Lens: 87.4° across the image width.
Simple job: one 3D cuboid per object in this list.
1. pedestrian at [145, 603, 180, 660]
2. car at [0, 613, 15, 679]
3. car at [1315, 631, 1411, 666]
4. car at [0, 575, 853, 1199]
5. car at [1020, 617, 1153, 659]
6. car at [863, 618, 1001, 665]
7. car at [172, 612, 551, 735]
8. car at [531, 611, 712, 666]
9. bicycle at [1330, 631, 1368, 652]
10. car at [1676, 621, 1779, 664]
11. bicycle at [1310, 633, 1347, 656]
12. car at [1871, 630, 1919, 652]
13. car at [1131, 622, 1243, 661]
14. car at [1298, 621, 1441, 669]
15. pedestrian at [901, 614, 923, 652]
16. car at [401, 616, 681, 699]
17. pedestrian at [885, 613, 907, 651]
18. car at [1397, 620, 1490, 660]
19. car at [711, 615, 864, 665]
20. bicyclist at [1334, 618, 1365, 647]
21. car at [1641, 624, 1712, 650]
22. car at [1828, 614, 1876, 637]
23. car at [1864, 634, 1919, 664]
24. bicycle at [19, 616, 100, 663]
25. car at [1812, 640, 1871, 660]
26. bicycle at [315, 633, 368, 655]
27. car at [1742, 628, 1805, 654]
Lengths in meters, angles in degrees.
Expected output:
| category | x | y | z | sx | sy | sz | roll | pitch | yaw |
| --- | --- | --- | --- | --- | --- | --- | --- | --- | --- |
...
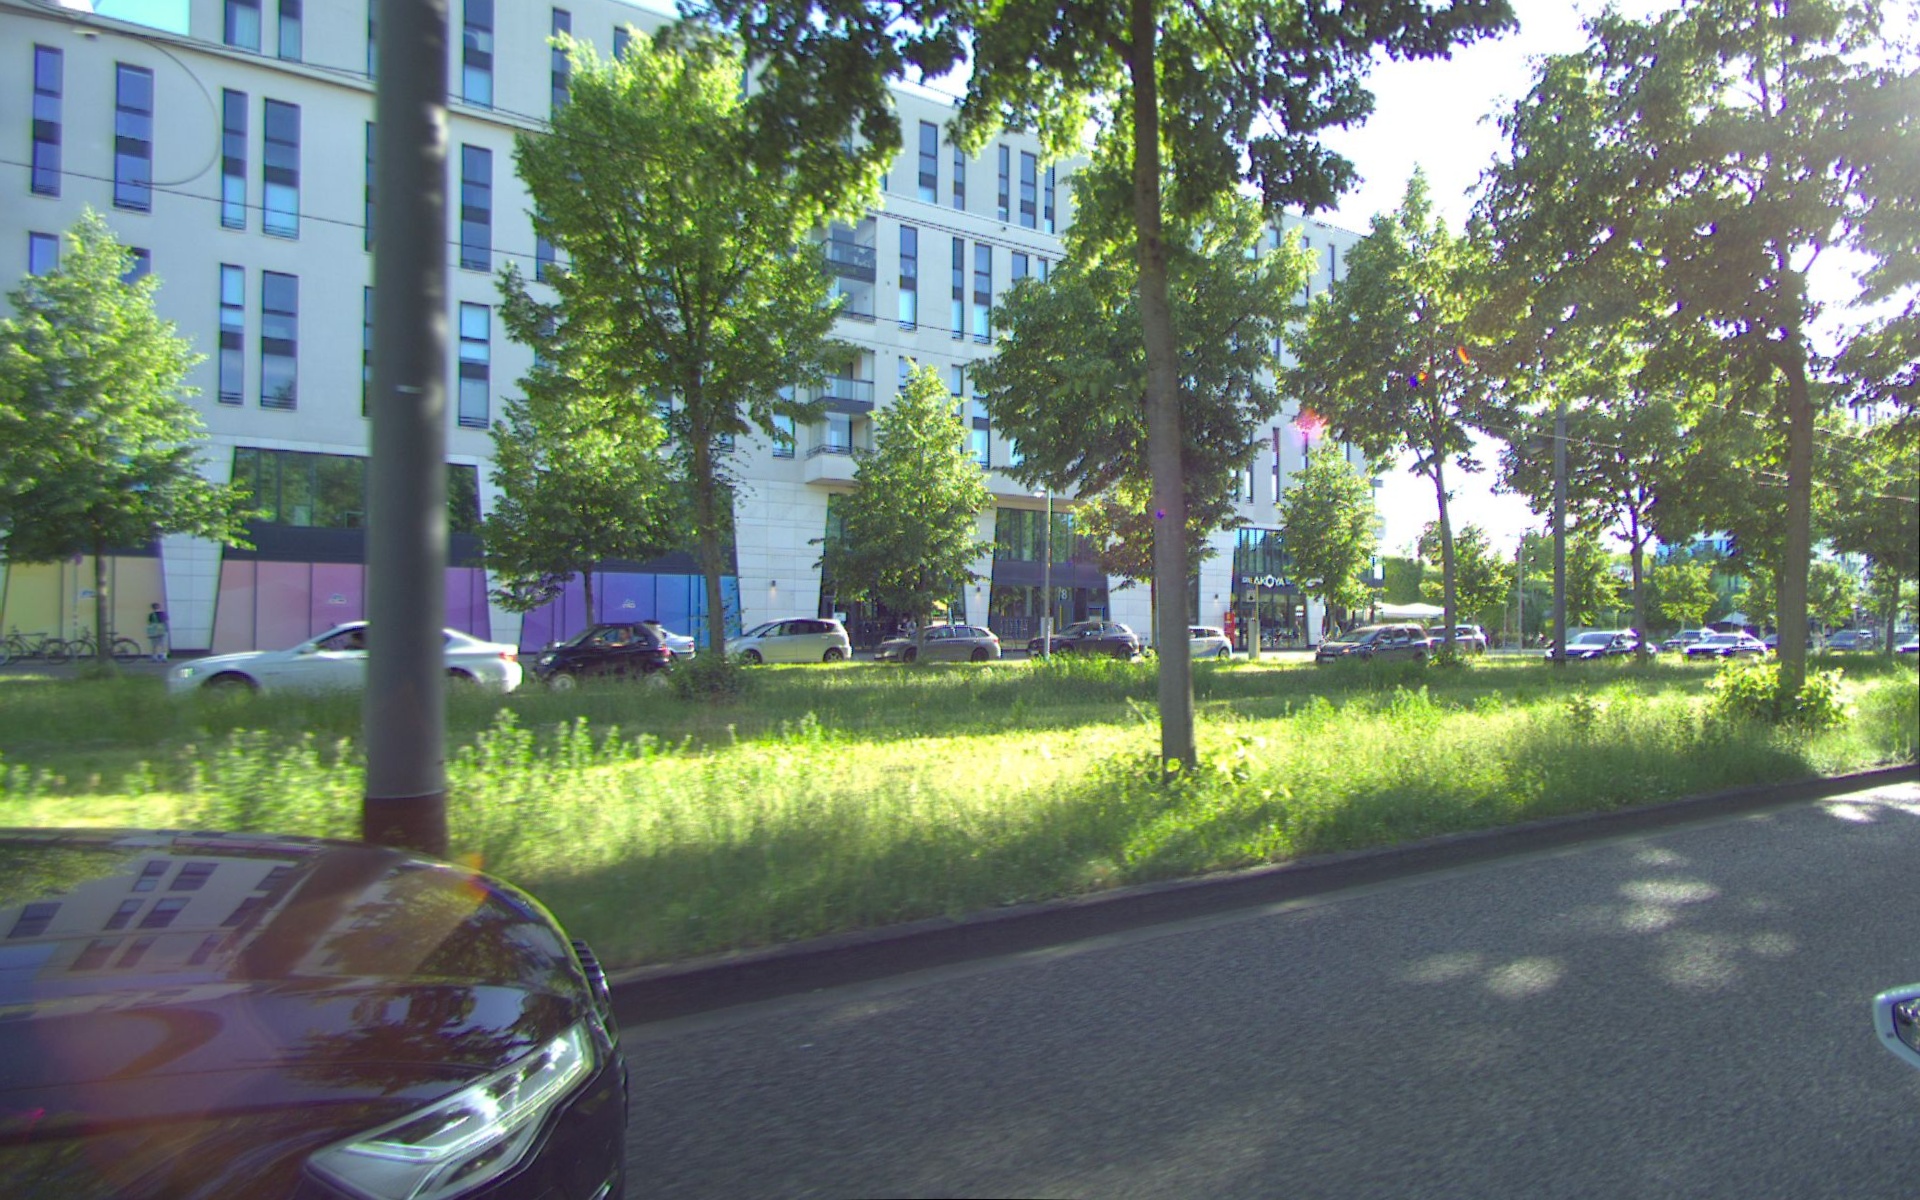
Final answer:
| category | x | y | z | sx | sy | sz | roll | pitch | yaw |
| --- | --- | --- | --- | --- | --- | --- | --- | --- | --- |
| pedestrian | -24.054 | 0.946 | 30.295 | 0.712 | 1.673 | 0.632 | 2 | 0 | -32 |
| car | -23.772 | 0.992 | 21.466 | 4.872 | 1.460 | 1.982 | 2 | 0 | -33 |
| car | 18.745 | 2.243 | 46.669 | 4.215 | 1.460 | 1.948 | 2 | 0 | -30 |
| car | -2.795 | 0.723 | 1.076 | 5.028 | 1.500 | 1.942 | 0 | 0 | -32 |
| car | 4.858 | 1.465 | 38.373 | 4.884 | 1.460 | 1.982 | 2 | 0 | -33 |
| car | -0.934 | 1.444 | 34.955 | 4.408 | 1.460 | 1.982 | 2 | 0 | -33 |
| car | -9.596 | 1.132 | 16.544 | 5.052 | 1.708 | 1.983 | 2 | 0 | -31 |
| car | -9.932 | 1.123 | 29.604 | 4.728 | 1.460 | 1.982 | 2 | 0 | -33 |
| bicycle | 19.431 | 2.076 | 50.125 | 2.163 | 1.014 | 0.494 | 2 | 0 | -31 |
| car | 35.519 | 1.937 | 46.465 | 5.189 | 1.865 | 1.984 | 1 | -1 | -30 |
| bicycle | 20.656 | 2.492 | 56.325 | 2.215 | 1.214 | 0.729 | 2 | 0 | -31 |
| car | 75.748 | 3.320 | 81.000 | 4.555 | 1.630 | 1.984 | 2 | 0 | -29 |
| car | 9.379 | 1.709 | 41.431 | 4.408 | 1.460 | 1.982 | 2 | 0 | -33 |
| car | 13.929 | 1.533 | 34.114 | 4.644 | 1.460 | 1.985 | 2 | 0 | -28 |
| pedestrian | -2.154 | 1.483 | 45.220 | 0.712 | 1.673 | 0.632 | 2 | 0 | -32 |
| car | -8.488 | 1.135 | 20.472 | 5.050 | 1.460 | 1.984 | 2 | 0 | -30 |
| pedestrian | -2.925 | 1.456 | 45.698 | 0.713 | 1.673 | 0.631 | 2 | 0 | -37 |
| car | 24.120 | 1.997 | 50.044 | 4.725 | 1.795 | 1.982 | 2 | 0 | -33 |
| car | -5.491 | 1.280 | 32.130 | 4.405 | 1.460 | 1.983 | 2 | 0 | -31 |
| bicyclist | 19.462 | 1.621 | 50.132 | 1.641 | 1.424 | 0.486 | 2 | 0 | -31 |
| car | 45.116 | 2.337 | 63.245 | 4.555 | 1.454 | 1.871 | 2 | 0 | -29 |
| car | 84.471 | 2.396 | 95.143 | 4.508 | 2.040 | 1.984 | 2 | 1 | -29 |
| car | 49.703 | 2.577 | 52.667 | 4.400 | 1.460 | 1.985 | 2 | 0 | -28 |
| bicycle | -25.652 | 1.122 | 28.645 | 1.591 | 1.298 | 0.594 | 2 | 0 | -33 |
| car | 66.380 | 3.744 | 75.621 | 4.555 | 1.343 | 1.904 | 2 | 0 | -29 |
| bicycle | -21.306 | 1.509 | 34.620 | 1.498 | 0.741 | 0.276 | 2 | 0 | -29 |
| car | 57.092 | 2.867 | 70.499 | 4.555 | 1.642 | 1.871 | 2 | 0 | -29 |
